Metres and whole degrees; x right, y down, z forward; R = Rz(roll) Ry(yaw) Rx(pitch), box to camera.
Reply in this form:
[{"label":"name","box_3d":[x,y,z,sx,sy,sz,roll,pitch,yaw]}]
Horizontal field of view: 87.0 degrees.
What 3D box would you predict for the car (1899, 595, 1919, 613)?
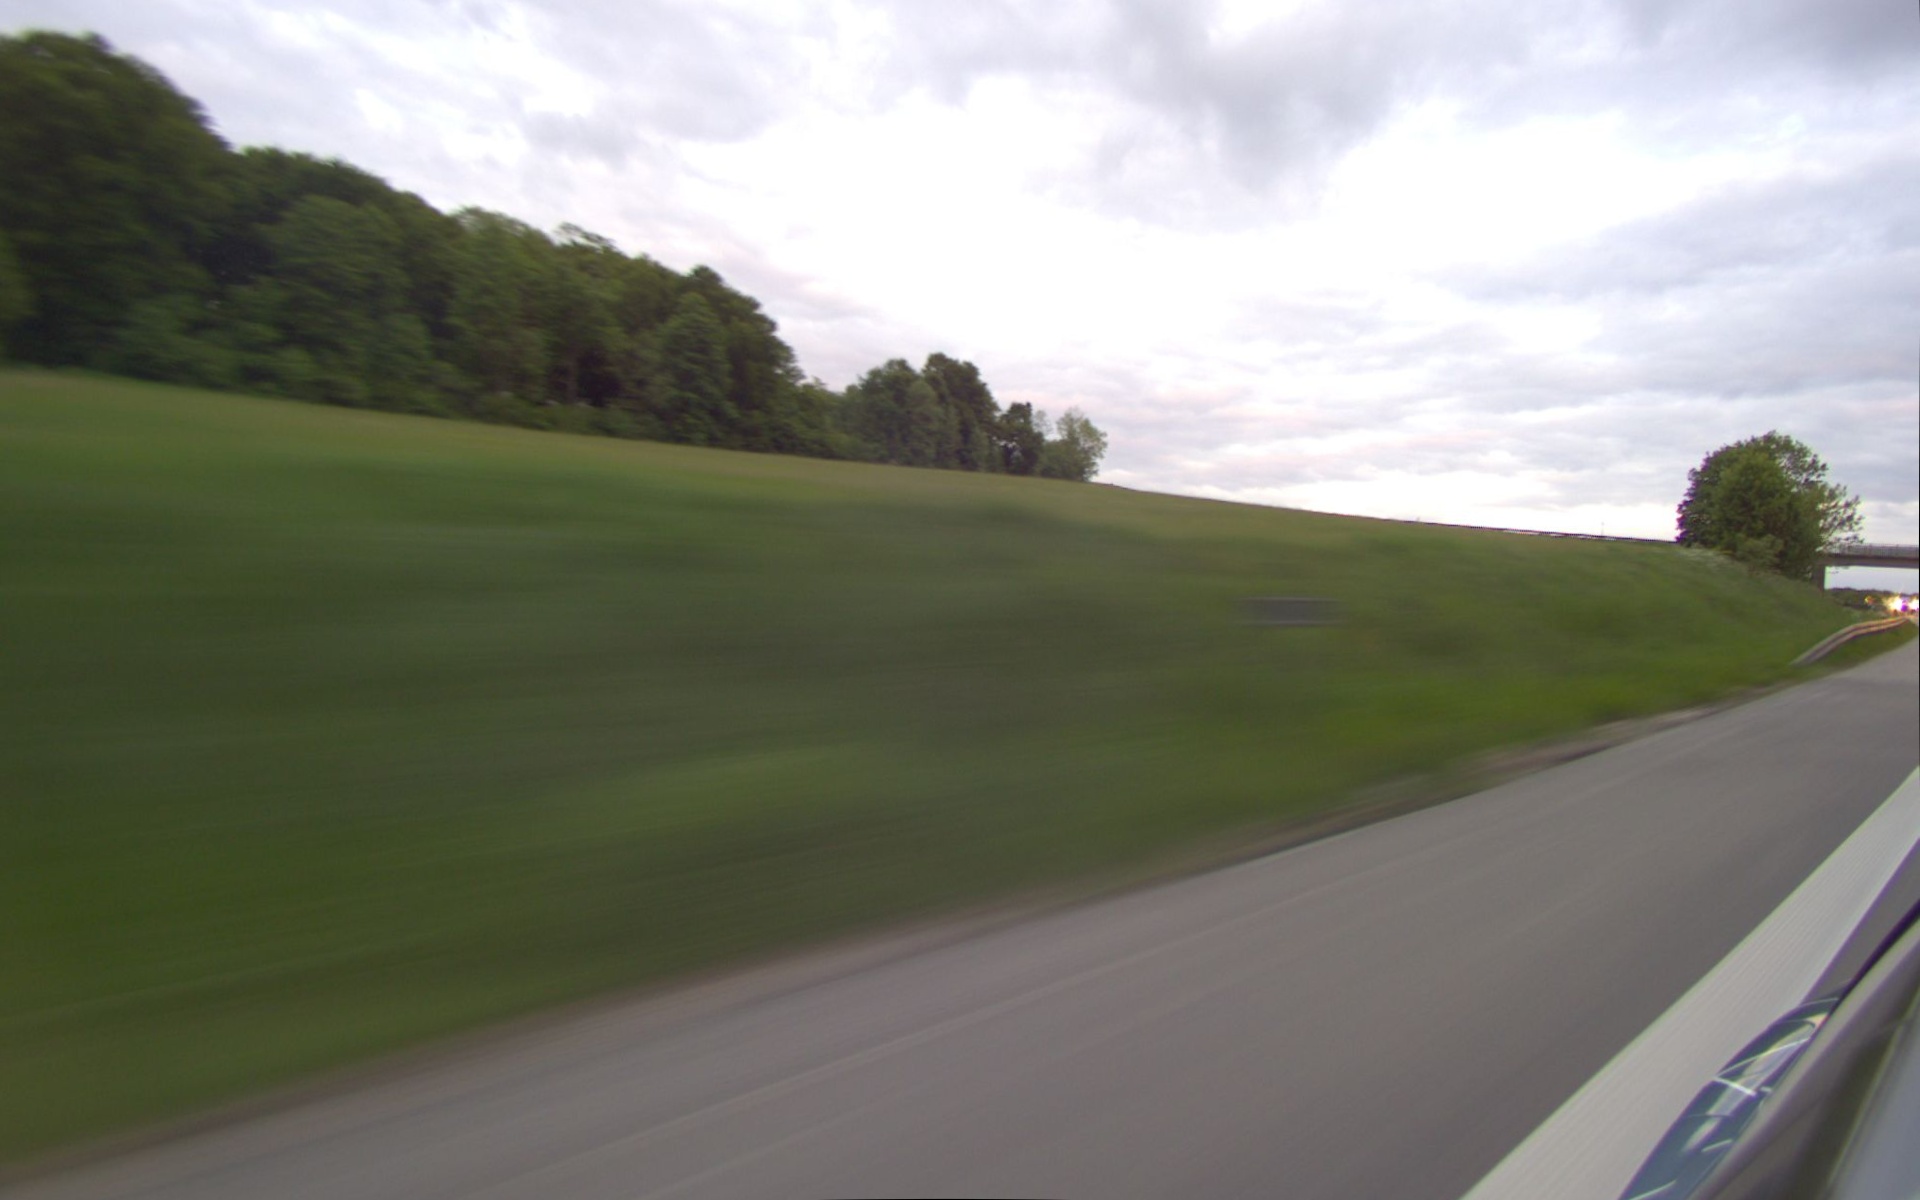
[{"label":"car","box_3d":[109.066,0.453,115.933,1.912,1.860,3.943,4,1,39]}]
